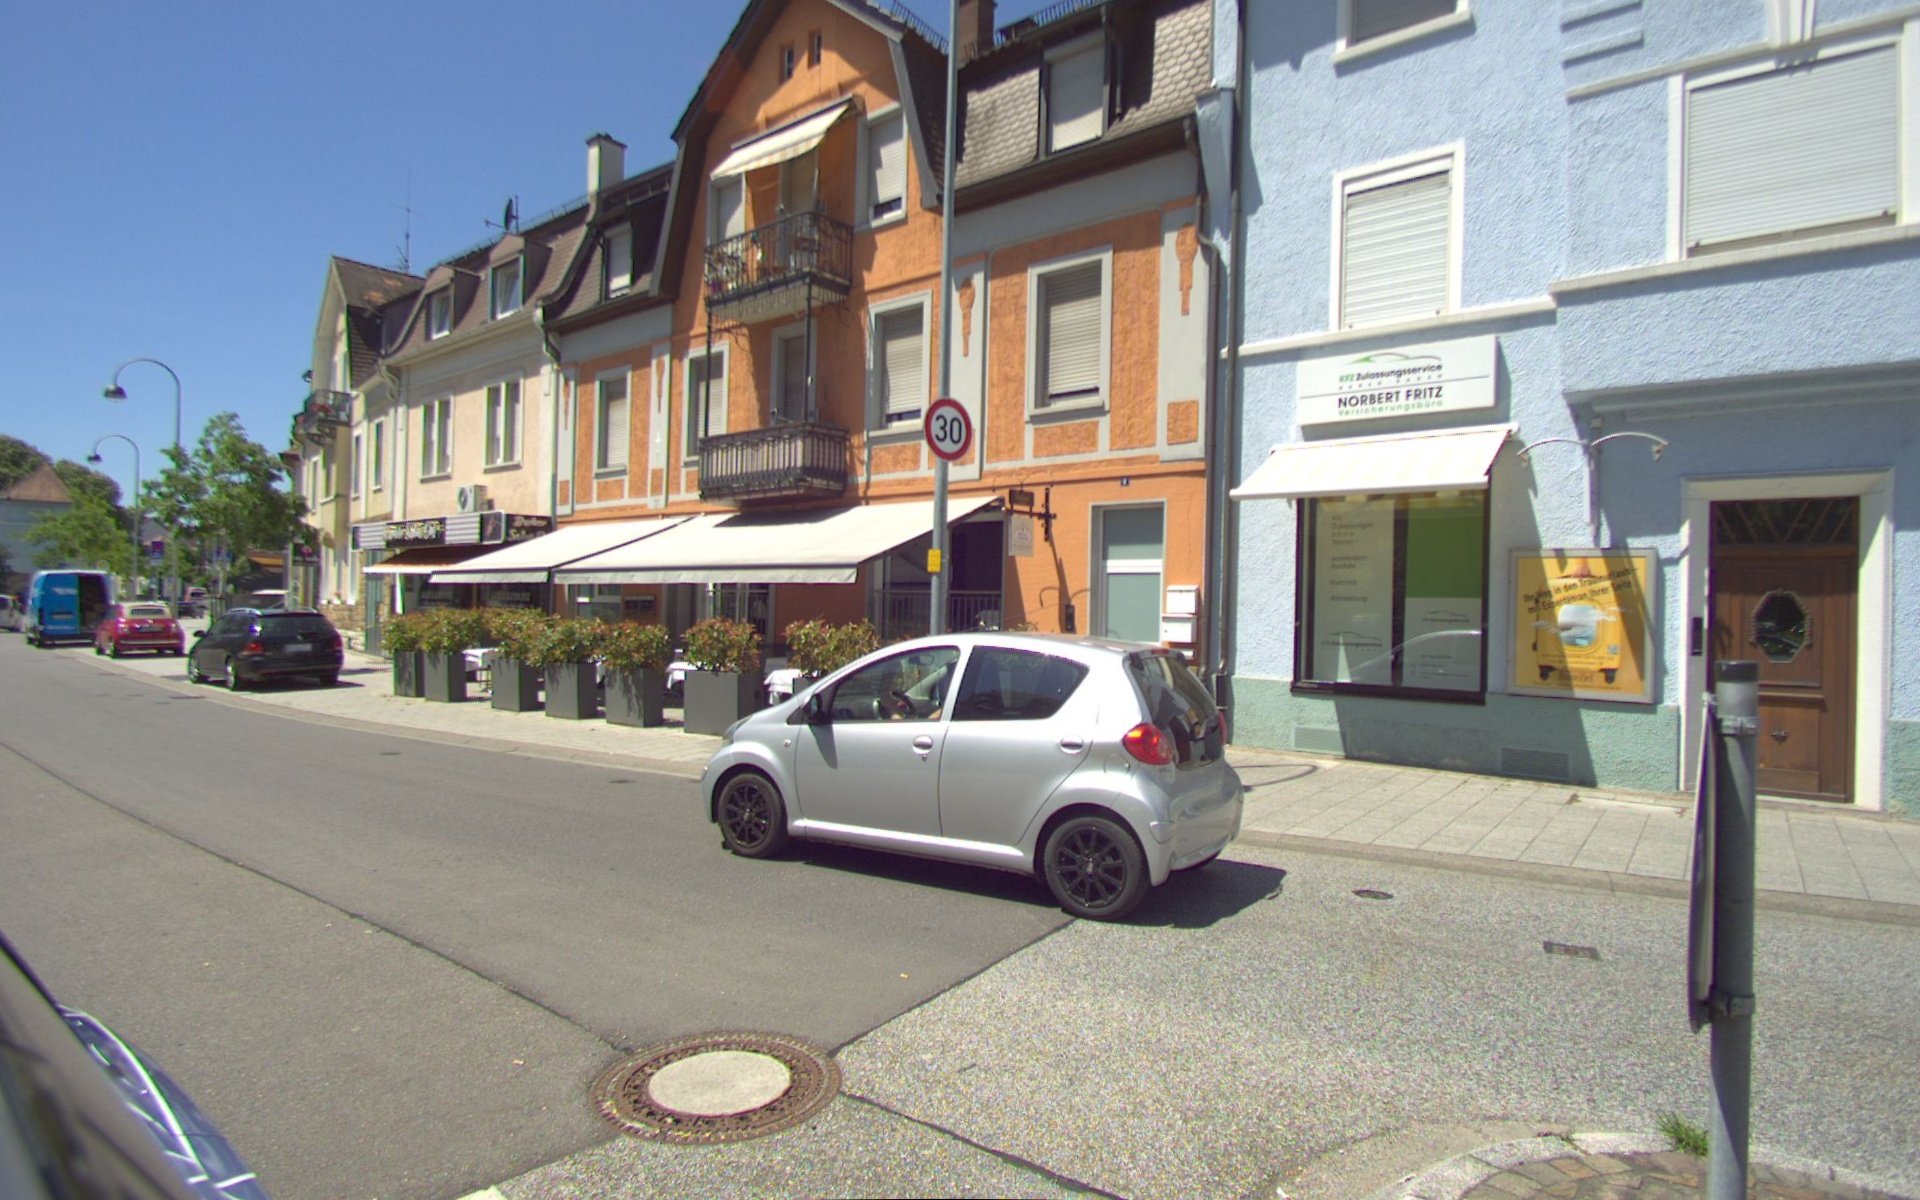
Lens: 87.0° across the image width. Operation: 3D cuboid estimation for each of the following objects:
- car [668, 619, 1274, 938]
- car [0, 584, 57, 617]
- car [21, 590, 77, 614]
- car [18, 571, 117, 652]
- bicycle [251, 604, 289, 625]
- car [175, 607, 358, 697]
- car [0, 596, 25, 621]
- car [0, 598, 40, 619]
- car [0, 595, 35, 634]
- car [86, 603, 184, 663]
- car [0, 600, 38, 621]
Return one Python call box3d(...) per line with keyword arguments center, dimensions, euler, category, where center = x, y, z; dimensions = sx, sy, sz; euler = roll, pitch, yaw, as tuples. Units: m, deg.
box3d(center=(0.009, 0.884, 6.300), dimensions=(3.458, 1.461, 1.563), euler=(0, -3, 31), category="car")
box3d(center=(-84.200, 0.030, 90.436), dimensions=(4.788, 2.757, 1.856), euler=(3, -2, -31), category="car")
box3d(center=(-57.403, 0.168, 63.836), dimensions=(1.889, 1.437, 3.991), euler=(2, -2, -32), category="car")
box3d(center=(-30.068, 0.352, 34.020), dimensions=(5.504, 2.517, 2.069), euler=(0, 0, 44), category="car")
box3d(center=(-40.697, 0.839, 59.700), dimensions=(0.616, 1.244, 1.746), euler=(-1, 0, 42), category="bicycle")
box3d(center=(-13.560, 0.916, 19.694), dimensions=(4.335, 1.493, 1.895), euler=(0, 1, 41), category="car")
box3d(center=(-71.938, 0.601, 74.823), dimensions=(3.756, 1.800, 1.846), euler=(3, -2, -33), category="car")
box3d(center=(-77.998, 0.669, 82.431), dimensions=(4.289, 1.562, 1.656), euler=(3, 0, -35), category="car")
box3d(center=(-46.853, 0.683, 49.231), dimensions=(1.966, 1.836, 4.427), euler=(3, -3, -33), category="car")
box3d(center=(-23.279, 0.883, 28.519), dimensions=(3.514, 1.532, 1.543), euler=(1, 0, 41), category="car")
box3d(center=(-74.903, 0.783, 79.239), dimensions=(3.758, 1.473, 1.656), euler=(3, -1, -37), category="car")
